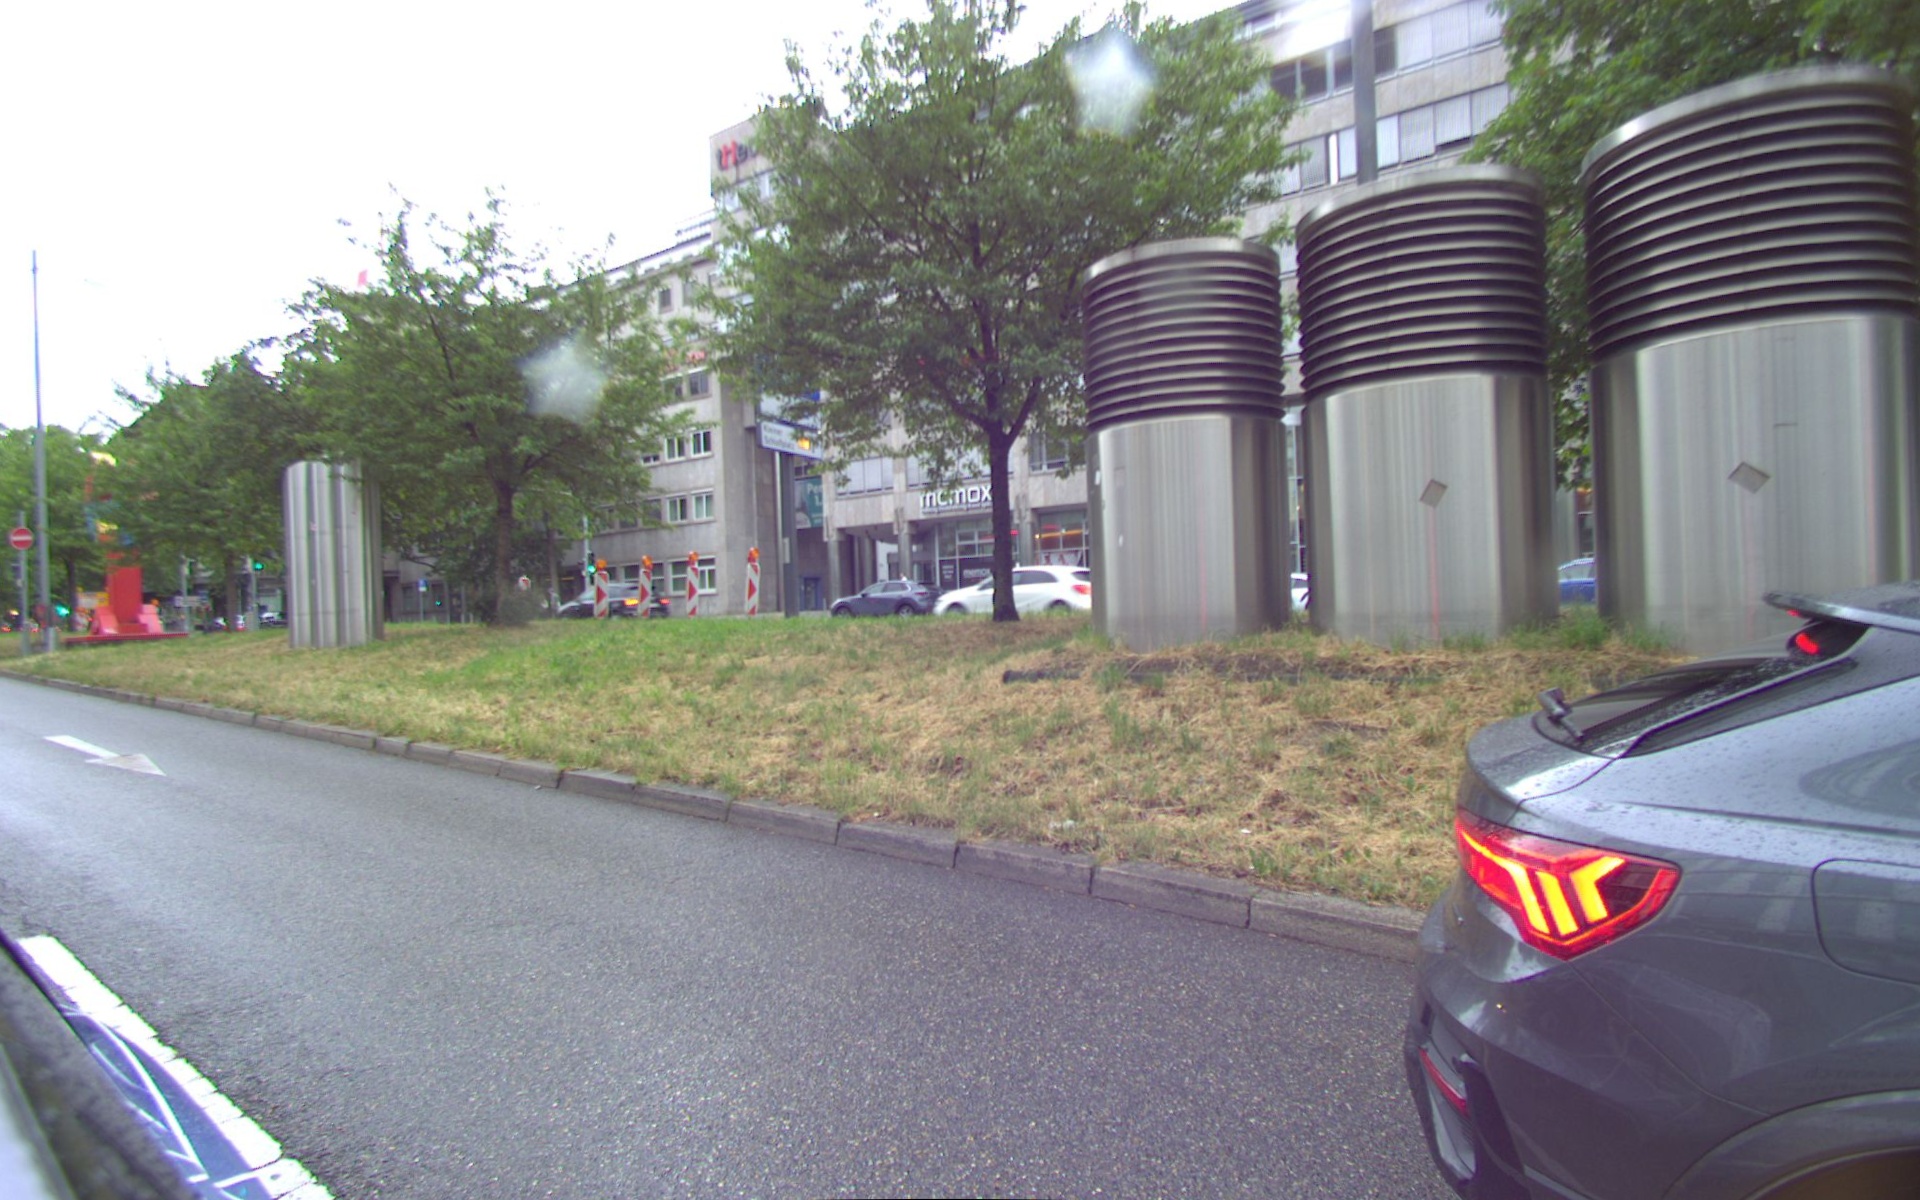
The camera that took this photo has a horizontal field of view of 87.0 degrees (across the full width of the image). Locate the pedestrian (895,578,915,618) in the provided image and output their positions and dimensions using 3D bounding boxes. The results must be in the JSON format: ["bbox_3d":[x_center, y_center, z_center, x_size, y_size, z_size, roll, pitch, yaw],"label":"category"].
[{"bbox_3d":[-2.524,-0.103,46.766,0.528,1.801,0.712,-2,0,38],"label":"pedestrian"}]

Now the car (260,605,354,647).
[{"bbox_3d":[-28.261,1.133,43.766,3.987,1.713,1.930,-2,0,33],"label":"car"}]

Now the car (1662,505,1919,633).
[{"bbox_3d":[13.163,-0.437,14.852,4.568,1.740,1.711,-2,0,33],"label":"car"}]

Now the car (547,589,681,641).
[{"bbox_3d":[-10.772,0.486,31.435,3.987,1.486,1.853,-2,0,33],"label":"car"}]

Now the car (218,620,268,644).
[{"bbox_3d":[-47.004,2.091,66.337,3.687,1.514,1.670,-2,-1,38],"label":"car"}]

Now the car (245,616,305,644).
[{"bbox_3d":[-42.950,1.890,63.412,4.461,1.634,1.844,-2,-1,38],"label":"car"}]

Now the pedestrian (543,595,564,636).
[{"bbox_3d":[-18.137,0.697,45.179,0.721,1.801,0.522,-2,0,42],"label":"pedestrian"}]

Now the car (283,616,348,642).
[{"bbox_3d":[-38.585,1.727,60.563,4.559,1.440,1.844,-2,-1,38],"label":"car"}]

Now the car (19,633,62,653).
[{"bbox_3d":[-71.645,3.346,78.825,4.561,1.440,1.843,-2,-1,40],"label":"car"}]

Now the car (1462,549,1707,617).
[{"bbox_3d":[13.839,-0.340,22.625,4.465,1.335,1.876,-2,0,34],"label":"car"}]

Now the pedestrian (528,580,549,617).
[{"bbox_3d":[-19.000,-0.065,45.638,0.619,1.641,0.599,-2,0,41],"label":"pedestrian"}]

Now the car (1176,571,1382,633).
[{"bbox_3d":[8.052,0.082,25.799,4.677,1.412,1.759,-2,-1,38],"label":"car"}]

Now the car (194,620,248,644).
[{"bbox_3d":[-50.543,2.211,69.192,4.568,1.498,1.769,-2,-1,38],"label":"car"}]

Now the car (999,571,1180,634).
[{"bbox_3d":[3.649,0.115,29.062,4.905,1.634,1.759,-2,-1,38],"label":"car"}]

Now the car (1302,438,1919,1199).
[{"bbox_3d":[2.799,0.557,1.042,4.245,1.628,1.831,-2,0,37],"label":"car"}]

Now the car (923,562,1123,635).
[{"bbox_3d":[1.407,-0.010,23.075,4.180,1.486,1.805,-2,0,33],"label":"car"}]

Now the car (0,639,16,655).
[{"bbox_3d":[-86.988,4.262,91.580,3.996,1.425,1.771,-2,-2,40],"label":"car"}]

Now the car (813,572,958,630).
[{"bbox_3d":[-2.530,0.075,33.677,4.785,1.739,1.844,-2,-1,38],"label":"car"}]
